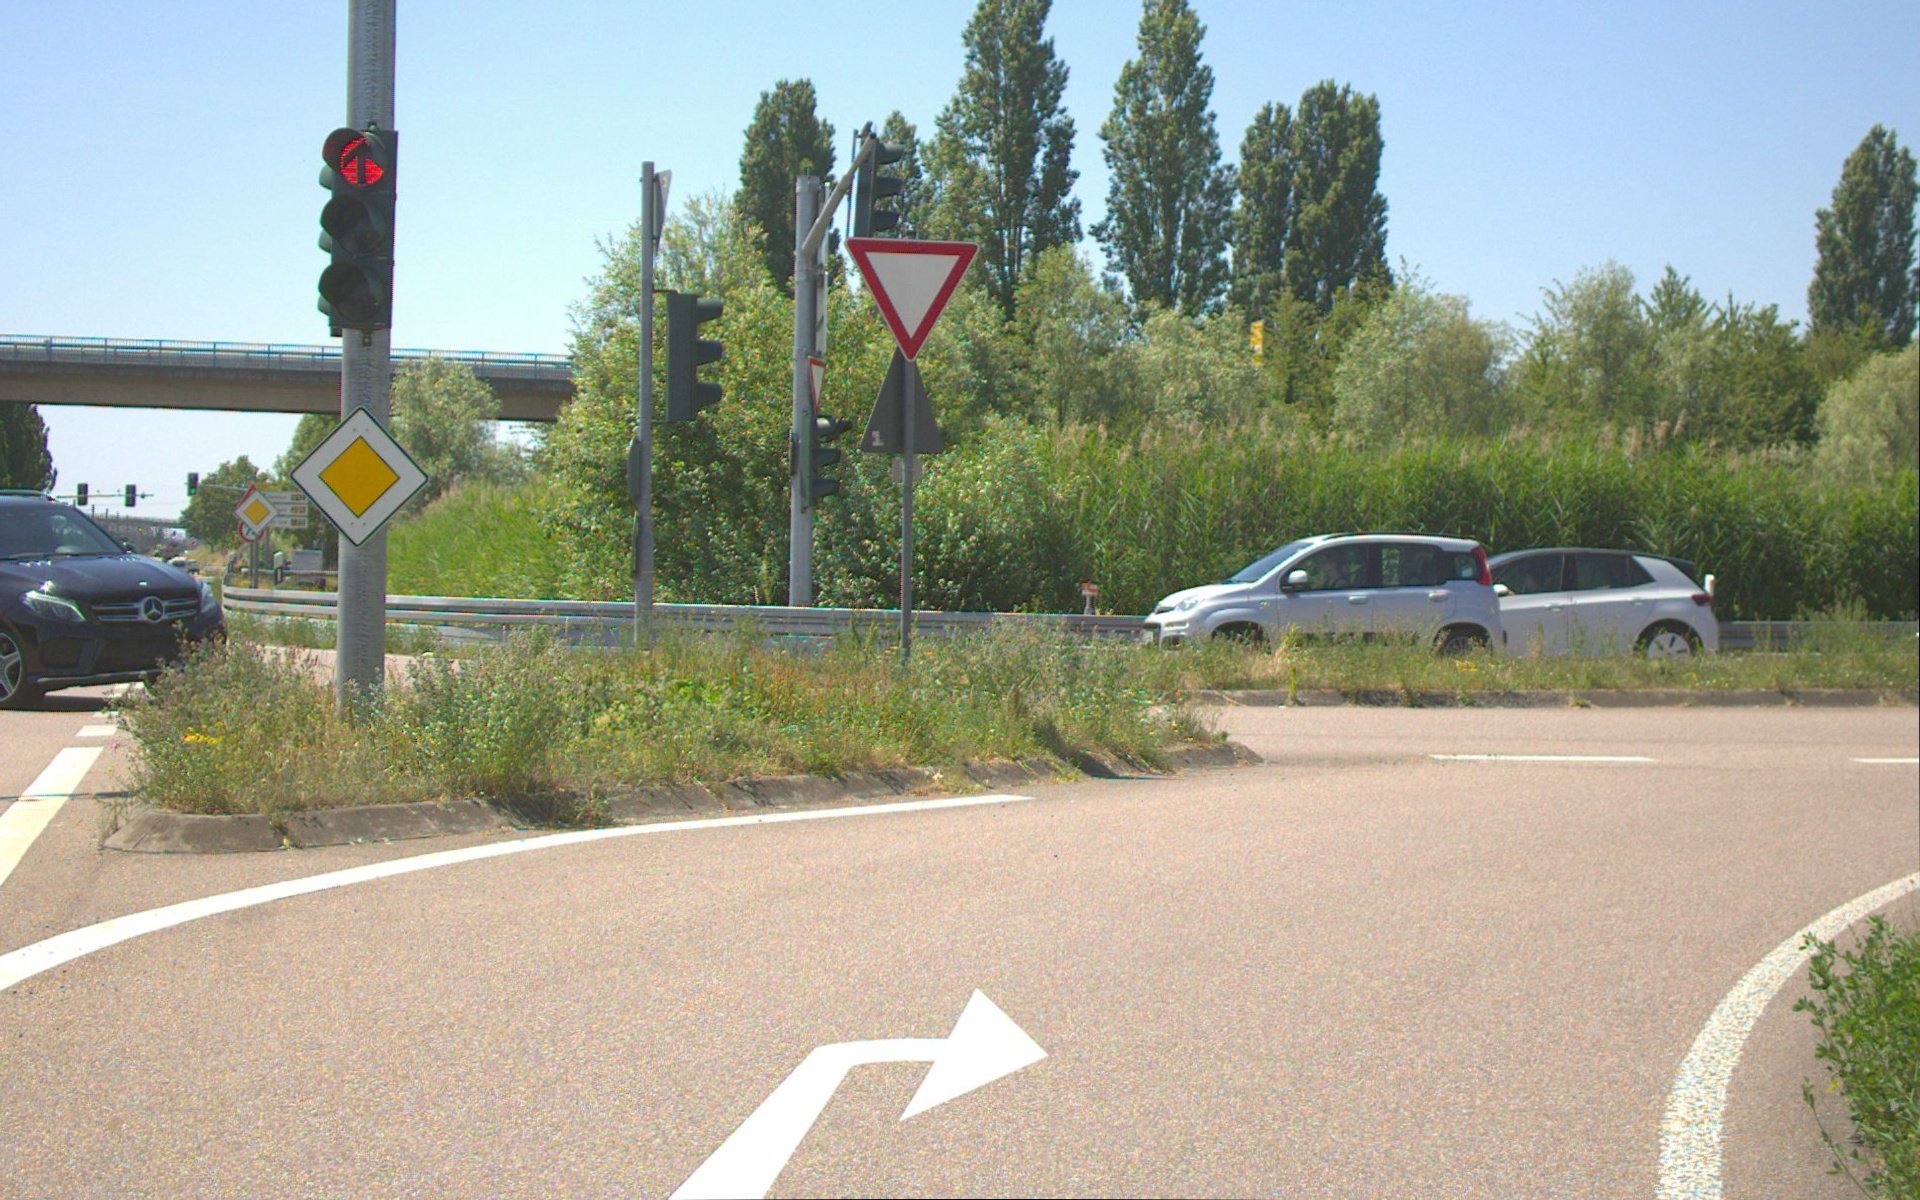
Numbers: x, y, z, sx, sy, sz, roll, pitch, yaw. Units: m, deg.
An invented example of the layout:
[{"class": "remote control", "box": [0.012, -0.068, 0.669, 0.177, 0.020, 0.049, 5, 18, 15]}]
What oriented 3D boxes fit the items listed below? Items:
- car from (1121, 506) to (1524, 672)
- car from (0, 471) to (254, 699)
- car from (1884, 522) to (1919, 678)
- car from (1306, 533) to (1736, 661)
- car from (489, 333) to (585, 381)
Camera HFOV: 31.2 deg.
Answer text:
[{"class": "car", "box": [3.636, -0.128, 34.779, 3.705, 1.626, 1.735, 0, 1, -10]}, {"class": "car", "box": [-8.049, -0.202, 28.915, 1.928, 1.761, 4.595, 0, 2, -44]}, {"class": "car", "box": [12.480, -0.001, 36.240, 4.924, 1.626, 1.934, 0, 1, -8]}, {"class": "car", "box": [6.297, -0.050, 38.842, 4.391, 1.393, 2.001, 0, 1, -8]}, {"class": "car", "box": [-19.219, -11.025, 156.133, 4.175, 2.007, 2.001, 0, 1, -10]}]
